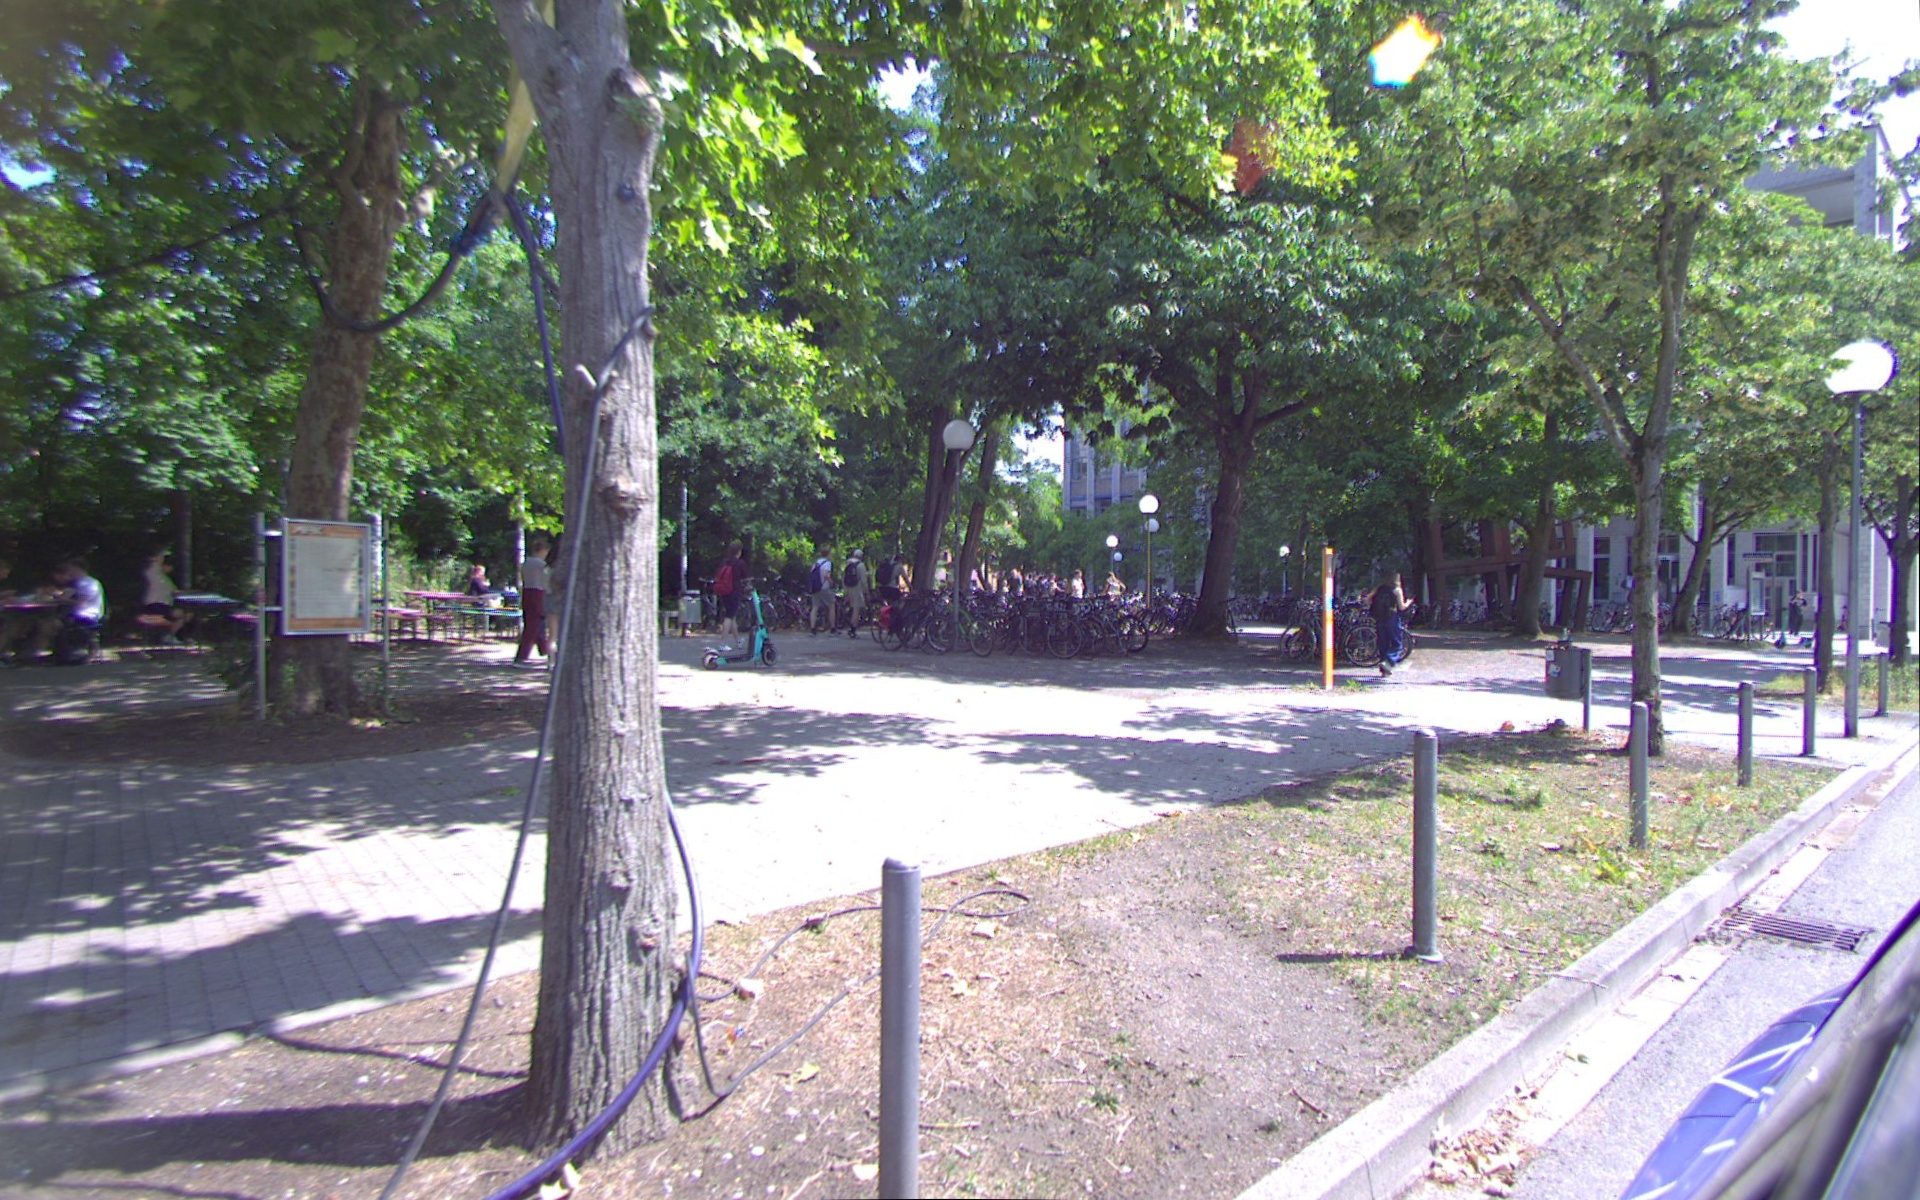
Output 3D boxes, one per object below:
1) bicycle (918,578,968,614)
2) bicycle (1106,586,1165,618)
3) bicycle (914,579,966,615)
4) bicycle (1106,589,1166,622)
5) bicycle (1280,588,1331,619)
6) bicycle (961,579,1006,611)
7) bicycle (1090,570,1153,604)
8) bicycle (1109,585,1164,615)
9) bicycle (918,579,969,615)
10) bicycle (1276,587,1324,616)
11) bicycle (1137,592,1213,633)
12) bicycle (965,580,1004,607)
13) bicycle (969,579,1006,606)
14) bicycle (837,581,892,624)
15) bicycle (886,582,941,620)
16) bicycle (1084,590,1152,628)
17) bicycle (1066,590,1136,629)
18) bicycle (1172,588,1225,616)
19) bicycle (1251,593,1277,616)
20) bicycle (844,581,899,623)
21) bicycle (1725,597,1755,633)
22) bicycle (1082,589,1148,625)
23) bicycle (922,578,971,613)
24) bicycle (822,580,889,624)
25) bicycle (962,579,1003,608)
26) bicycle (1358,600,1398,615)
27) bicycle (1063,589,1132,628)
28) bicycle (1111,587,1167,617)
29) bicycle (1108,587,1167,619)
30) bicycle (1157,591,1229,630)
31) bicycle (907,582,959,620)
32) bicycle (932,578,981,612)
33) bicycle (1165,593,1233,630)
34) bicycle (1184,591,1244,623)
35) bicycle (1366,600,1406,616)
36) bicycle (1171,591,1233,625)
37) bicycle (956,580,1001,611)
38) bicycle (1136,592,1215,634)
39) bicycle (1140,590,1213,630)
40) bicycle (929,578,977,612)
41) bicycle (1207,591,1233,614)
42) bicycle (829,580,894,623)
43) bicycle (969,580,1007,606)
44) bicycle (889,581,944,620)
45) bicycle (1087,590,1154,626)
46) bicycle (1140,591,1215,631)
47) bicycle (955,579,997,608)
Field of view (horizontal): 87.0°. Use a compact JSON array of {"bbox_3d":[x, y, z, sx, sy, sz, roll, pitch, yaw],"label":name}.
[{"bbox_3d":[-0.558,-0.142,33.525,1.591,1.107,0.475,2,1,20],"label":"bicycle"},{"bbox_3d":[5.908,0.066,34.106,1.880,0.991,0.376,2,1,20],"label":"bicycle"},{"bbox_3d":[-0.639,-0.102,32.463,1.591,1.107,0.475,2,1,20],"label":"bicycle"},{"bbox_3d":[5.728,0.166,32.957,1.880,0.991,0.376,2,1,20],"label":"bicycle"},{"bbox_3d":[13.609,0.128,39.908,1.815,1.185,0.412,1,0,11],"label":"bicycle"},{"bbox_3d":[0.845,-0.195,36.603,1.587,1.107,0.346,2,1,14],"label":"bicycle"},{"bbox_3d":[4.958,-0.404,31.076,1.880,0.991,0.376,2,1,20],"label":"bicycle"},{"bbox_3d":[6.320,-0.004,36.212,1.880,0.991,0.376,2,1,20],"label":"bicycle"},{"bbox_3d":[-0.530,-0.110,32.798,1.591,1.107,0.475,2,1,20],"label":"bicycle"},{"bbox_3d":[14.154,0.058,42.159,1.815,1.185,0.412,1,0,11],"label":"bicycle"},{"bbox_3d":[5.551,0.310,26.217,1.872,0.991,0.477,2,1,9],"label":"bicycle"},{"bbox_3d":[1.016,-0.281,42.691,1.578,1.107,0.348,1,1,-7],"label":"bicycle"},{"bbox_3d":[1.184,-0.319,43.825,1.581,1.107,0.348,1,1,1],"label":"bicycle"},{"bbox_3d":[-2.647,0.061,27.941,1.598,1.107,0.344,2,1,31],"label":"bicycle"},{"bbox_3d":[-1.403,0.021,30.517,1.591,1.107,0.475,2,1,20],"label":"bicycle"},{"bbox_3d":[4.464,0.245,28.687,1.873,0.991,0.377,2,1,10],"label":"bicycle"},{"bbox_3d":[3.843,0.238,27.581,1.873,0.991,0.477,2,1,10],"label":"bicycle"},{"bbox_3d":[8.975,0.079,38.134,1.874,0.991,0.477,2,1,12],"label":"bicycle"},{"bbox_3d":[14.547,0.225,48.346,0.477,1.098,1.661,-2,-3,43],"label":"bicycle"},{"bbox_3d":[-2.474,0.057,28.253,1.598,1.107,0.344,2,1,31],"label":"bicycle"},{"bbox_3d":[26.414,0.506,34.248,1.465,1.155,0.560,-1,3,-44],"label":"bicycle"},{"bbox_3d":[4.563,0.208,29.851,1.873,0.991,0.477,2,1,11],"label":"bicycle"},{"bbox_3d":[-0.446,-0.150,33.858,1.591,1.107,0.346,2,1,21],"label":"bicycle"},{"bbox_3d":[-2.778,0.037,26.888,1.734,1.107,0.475,2,1,24],"label":"bicycle"},{"bbox_3d":[0.898,-0.282,40.488,1.586,1.107,0.347,2,1,12],"label":"bicycle"},{"bbox_3d":[23.331,0.426,56.530,1.981,0.769,0.634,3,0,40],"label":"bicycle"},{"bbox_3d":[3.811,0.226,28.047,1.873,0.991,0.377,2,1,10],"label":"bicycle"},{"bbox_3d":[6.260,0.062,35.437,1.880,0.991,0.376,2,1,20],"label":"bicycle"},{"bbox_3d":[5.852,0.097,33.360,1.880,0.991,0.376,2,1,20],"label":"bicycle"},{"bbox_3d":[6.417,0.292,27.915,1.880,0.991,0.476,2,1,20],"label":"bicycle"},{"bbox_3d":[-0.839,0.015,31.427,1.591,1.107,0.346,2,1,21],"label":"bicycle"},{"bbox_3d":[-0.120,-0.178,34.910,1.591,1.107,0.475,2,1,20],"label":"bicycle"},{"bbox_3d":[6.877,0.323,29.182,1.873,0.991,0.477,2,1,10],"label":"bicycle"},{"bbox_3d":[8.371,0.229,33.355,1.867,0.991,0.379,1,1,-1],"label":"bicycle"},{"bbox_3d":[23.969,0.443,56.989,1.981,0.769,0.634,3,0,40],"label":"bicycle"},{"bbox_3d":[7.737,0.249,32.399,1.880,0.991,0.376,2,1,20],"label":"bicycle"},{"bbox_3d":[0.699,-0.182,37.583,1.586,1.107,0.477,2,1,12],"label":"bicycle"},{"bbox_3d":[5.454,0.324,25.611,1.868,0.991,0.478,1,1,1],"label":"bicycle"},{"bbox_3d":[5.789,0.265,27.118,1.872,0.991,0.477,2,1,8],"label":"bicycle"},{"bbox_3d":[-0.237,-0.172,34.574,1.591,1.107,0.346,2,1,21],"label":"bicycle"},{"bbox_3d":[12.829,0.140,49.872,0.477,1.098,1.661,-2,-3,43],"label":"bicycle"},{"bbox_3d":[-2.650,0.031,27.210,1.734,1.107,0.475,2,1,24],"label":"bicycle"},{"bbox_3d":[1.187,-0.304,43.477,1.581,1.107,0.348,1,1,1],"label":"bicycle"},{"bbox_3d":[-1.330,0.010,30.891,1.591,1.107,0.475,2,1,20],"label":"bicycle"},{"bbox_3d":[4.600,0.223,29.082,1.873,0.991,0.377,2,1,10],"label":"bicycle"},{"bbox_3d":[5.736,0.283,26.721,1.872,0.991,0.477,2,1,8],"label":"bicycle"},{"bbox_3d":[0.634,-0.270,39.812,1.586,1.107,0.347,2,1,12],"label":"bicycle"}]
